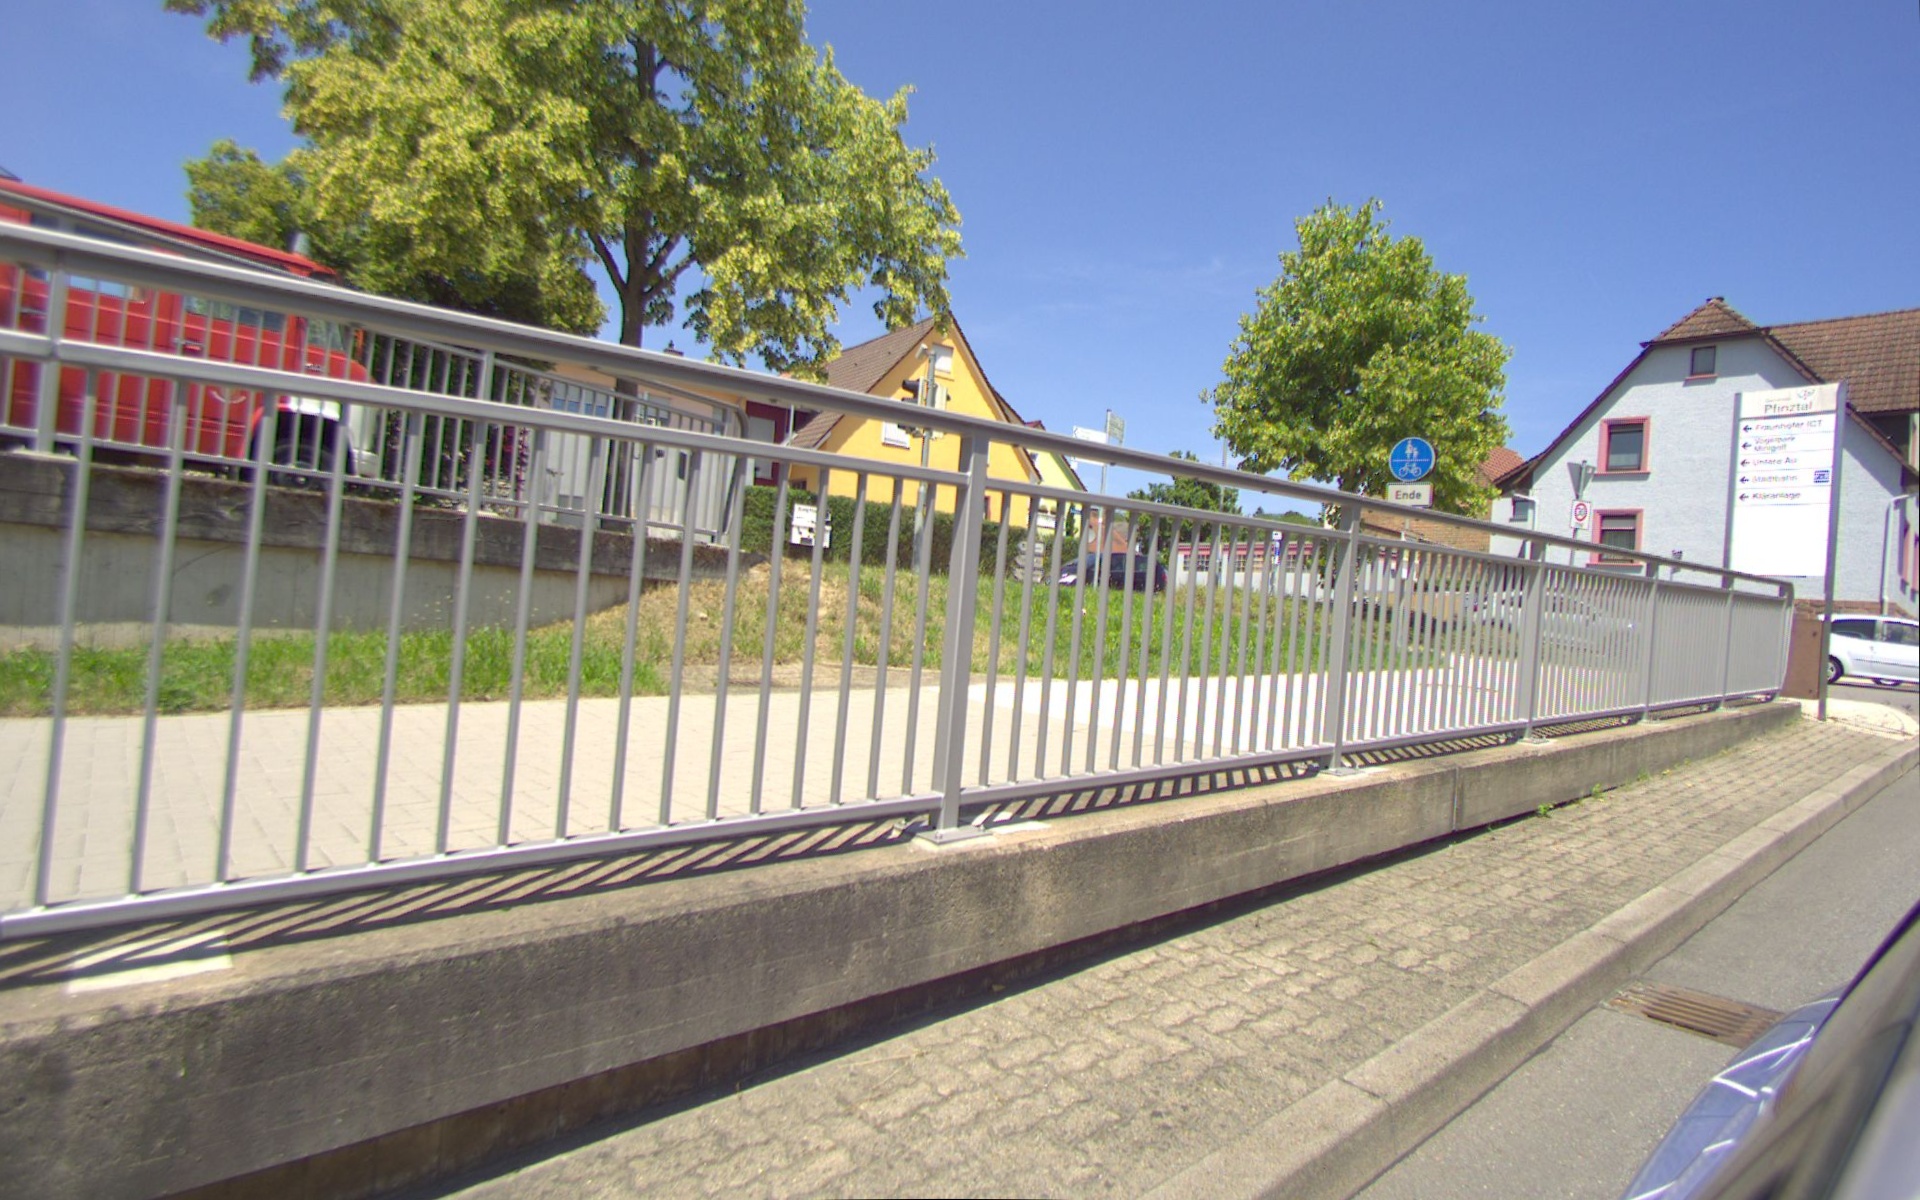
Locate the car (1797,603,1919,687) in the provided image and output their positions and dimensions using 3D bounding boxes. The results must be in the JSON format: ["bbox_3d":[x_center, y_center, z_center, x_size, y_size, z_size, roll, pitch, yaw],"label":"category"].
[{"bbox_3d":[19.080,0.957,20.049,3.672,1.497,1.748,5,2,44],"label":"car"}]

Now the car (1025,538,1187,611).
[{"bbox_3d":[4.000,-0.654,27.594,4.074,1.609,1.871,5,-2,-32],"label":"car"}]

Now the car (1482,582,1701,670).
[{"bbox_3d":[14.618,0.556,23.650,4.097,1.554,1.756,6,2,32],"label":"car"}]

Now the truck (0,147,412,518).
[{"bbox_3d":[-7.672,-2.159,8.273,5.166,2.364,2.136,4,-1,-41],"label":"truck"}]

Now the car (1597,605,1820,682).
[{"bbox_3d":[18.047,1.018,24.543,4.140,1.320,1.884,7,2,40],"label":"car"}]
